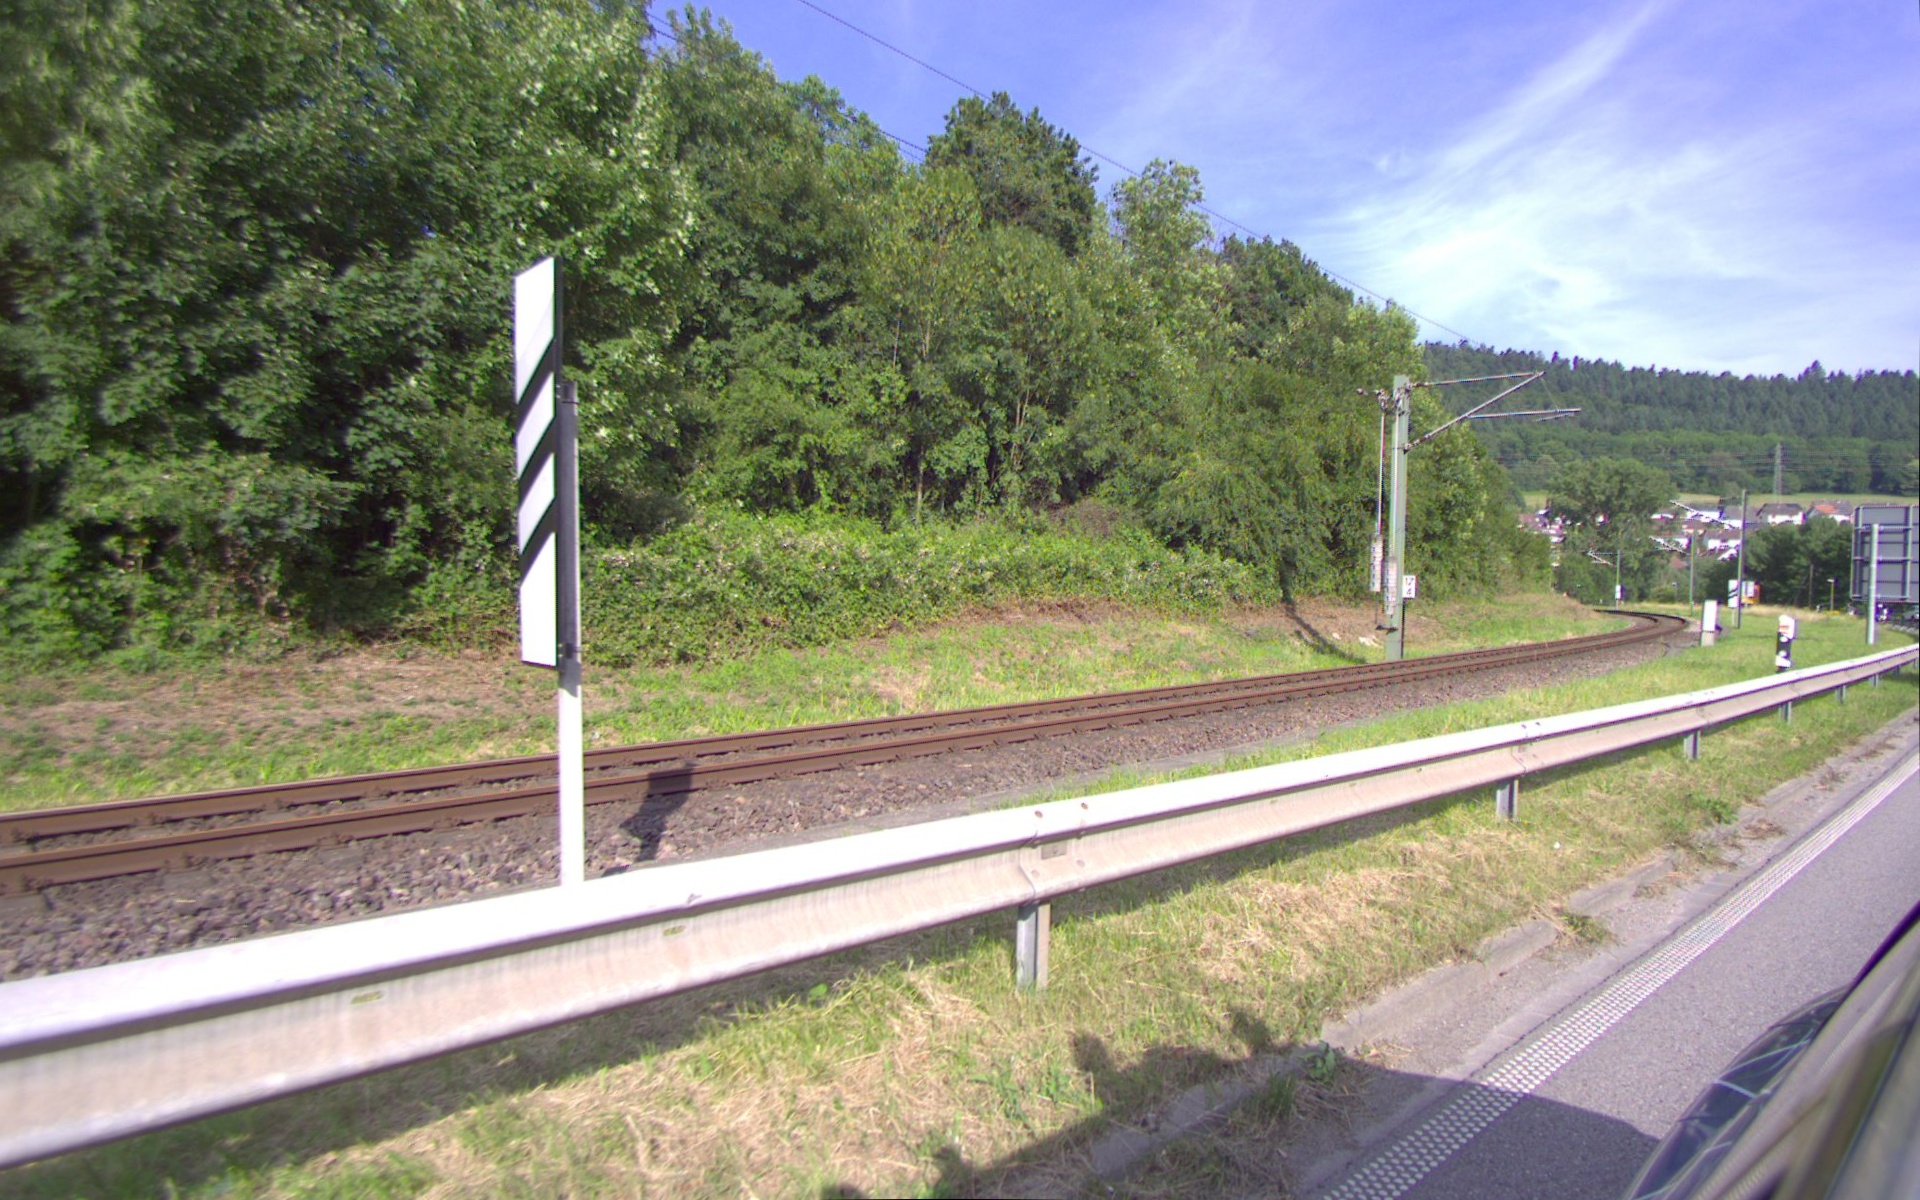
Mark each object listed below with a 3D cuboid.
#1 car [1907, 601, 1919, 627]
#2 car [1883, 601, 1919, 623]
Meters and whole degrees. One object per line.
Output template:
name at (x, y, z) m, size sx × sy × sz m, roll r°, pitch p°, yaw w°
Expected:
car at (79.221, 1.154, 82.521) m, size 1.982 × 2.039 × 3.960 m, roll 0°, pitch 0°, yaw 29°
car at (71.235, 0.880, 76.504) m, size 1.865 × 1.613 × 3.995 m, roll 1°, pitch 0°, yaw 39°
